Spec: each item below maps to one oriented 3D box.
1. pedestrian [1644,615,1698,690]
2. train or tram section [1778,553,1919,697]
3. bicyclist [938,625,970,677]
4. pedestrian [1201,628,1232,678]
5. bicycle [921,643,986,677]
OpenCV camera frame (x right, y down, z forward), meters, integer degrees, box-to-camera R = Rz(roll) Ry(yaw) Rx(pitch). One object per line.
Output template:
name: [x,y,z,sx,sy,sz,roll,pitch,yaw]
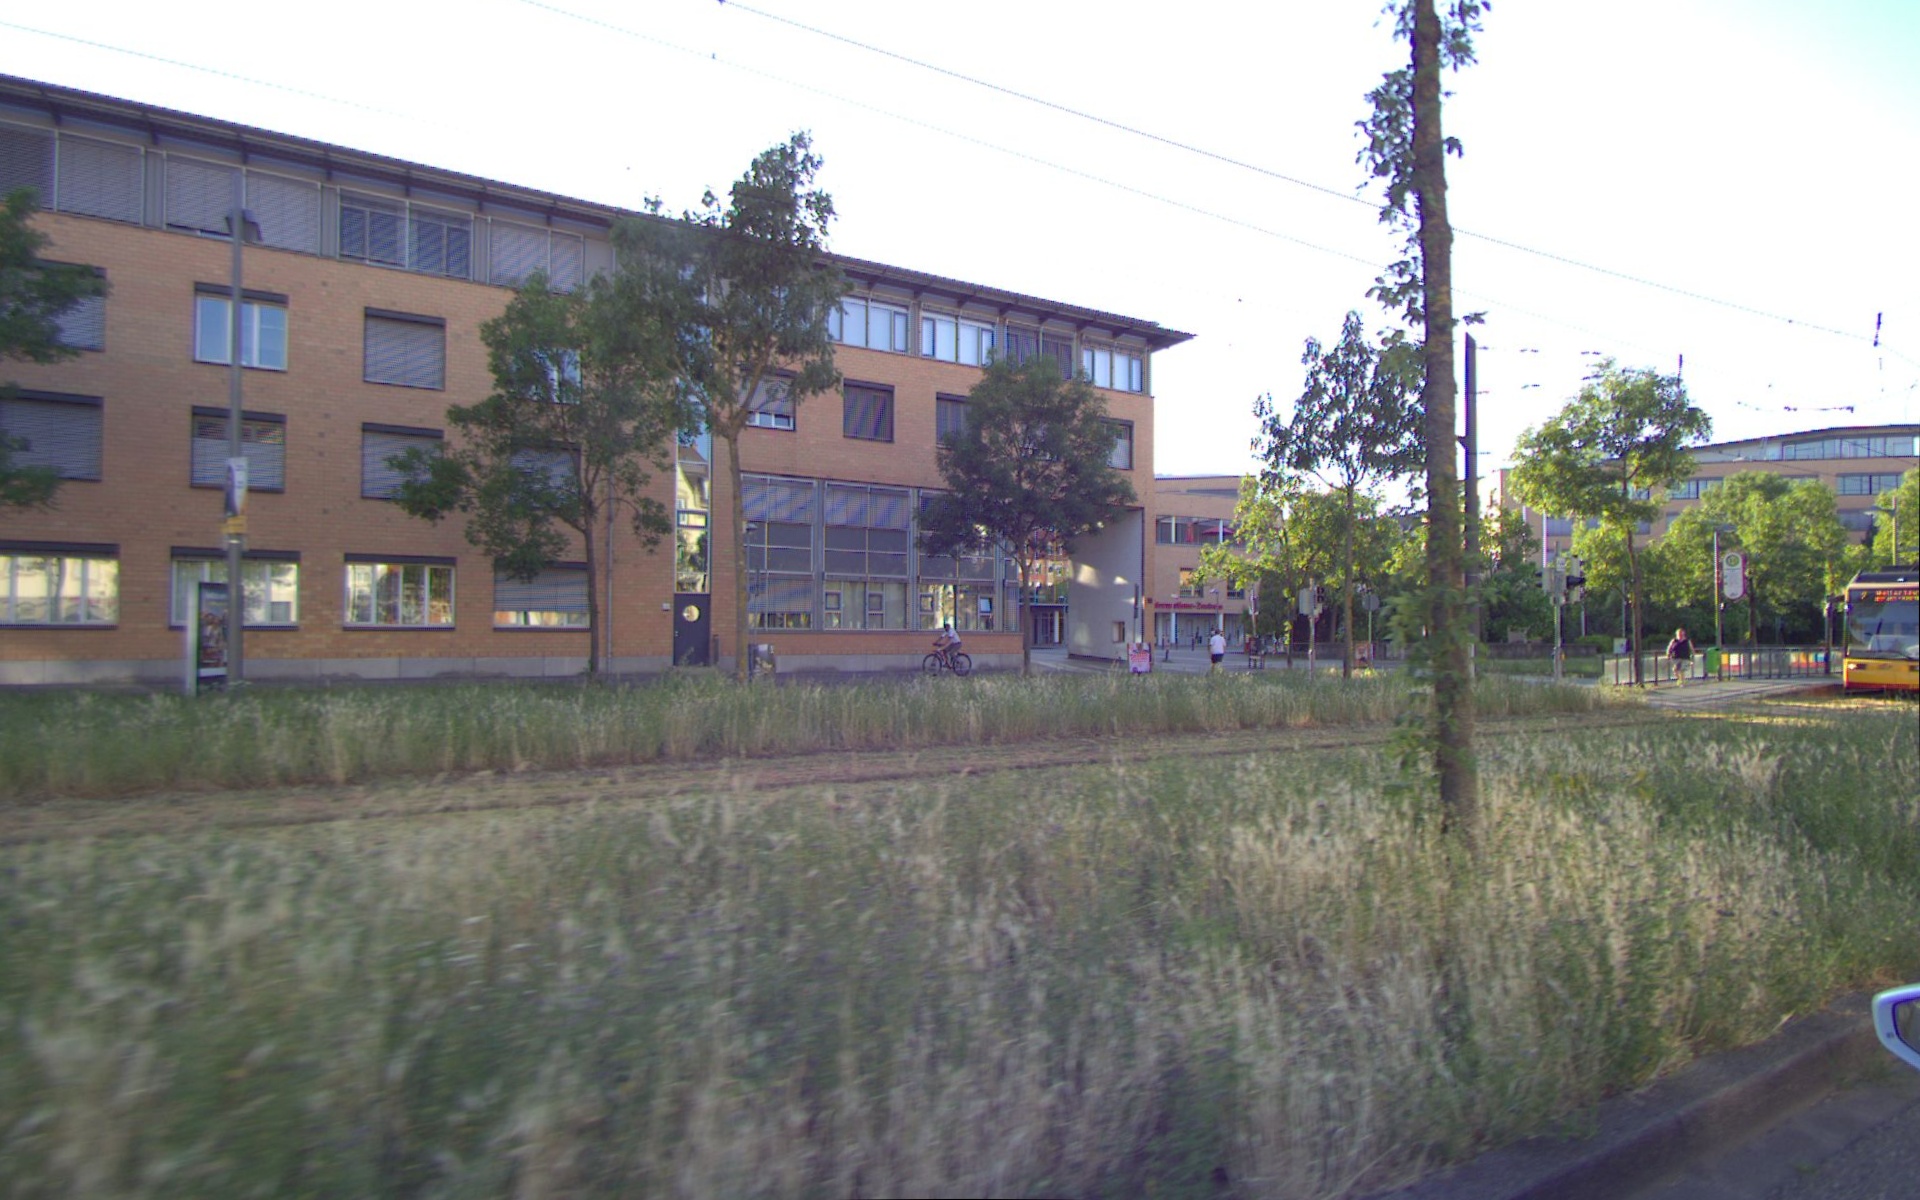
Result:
pedestrian: [19.859,1.448,28.067,0.946,2.040,0.930,1,-2,-30]
train or tram section: [28.953,0.795,28.948,14.852,3.475,3.415,2,-2,-31]
bicyclist: [-0.191,1.676,33.110,0.816,1.696,0.692,1,-2,-30]
pedestrian: [8.953,1.830,35.050,0.822,1.720,0.683,1,-2,-38]
bicycle: [-0.196,1.966,33.112,2.069,1.066,0.706,1,-2,-30]
